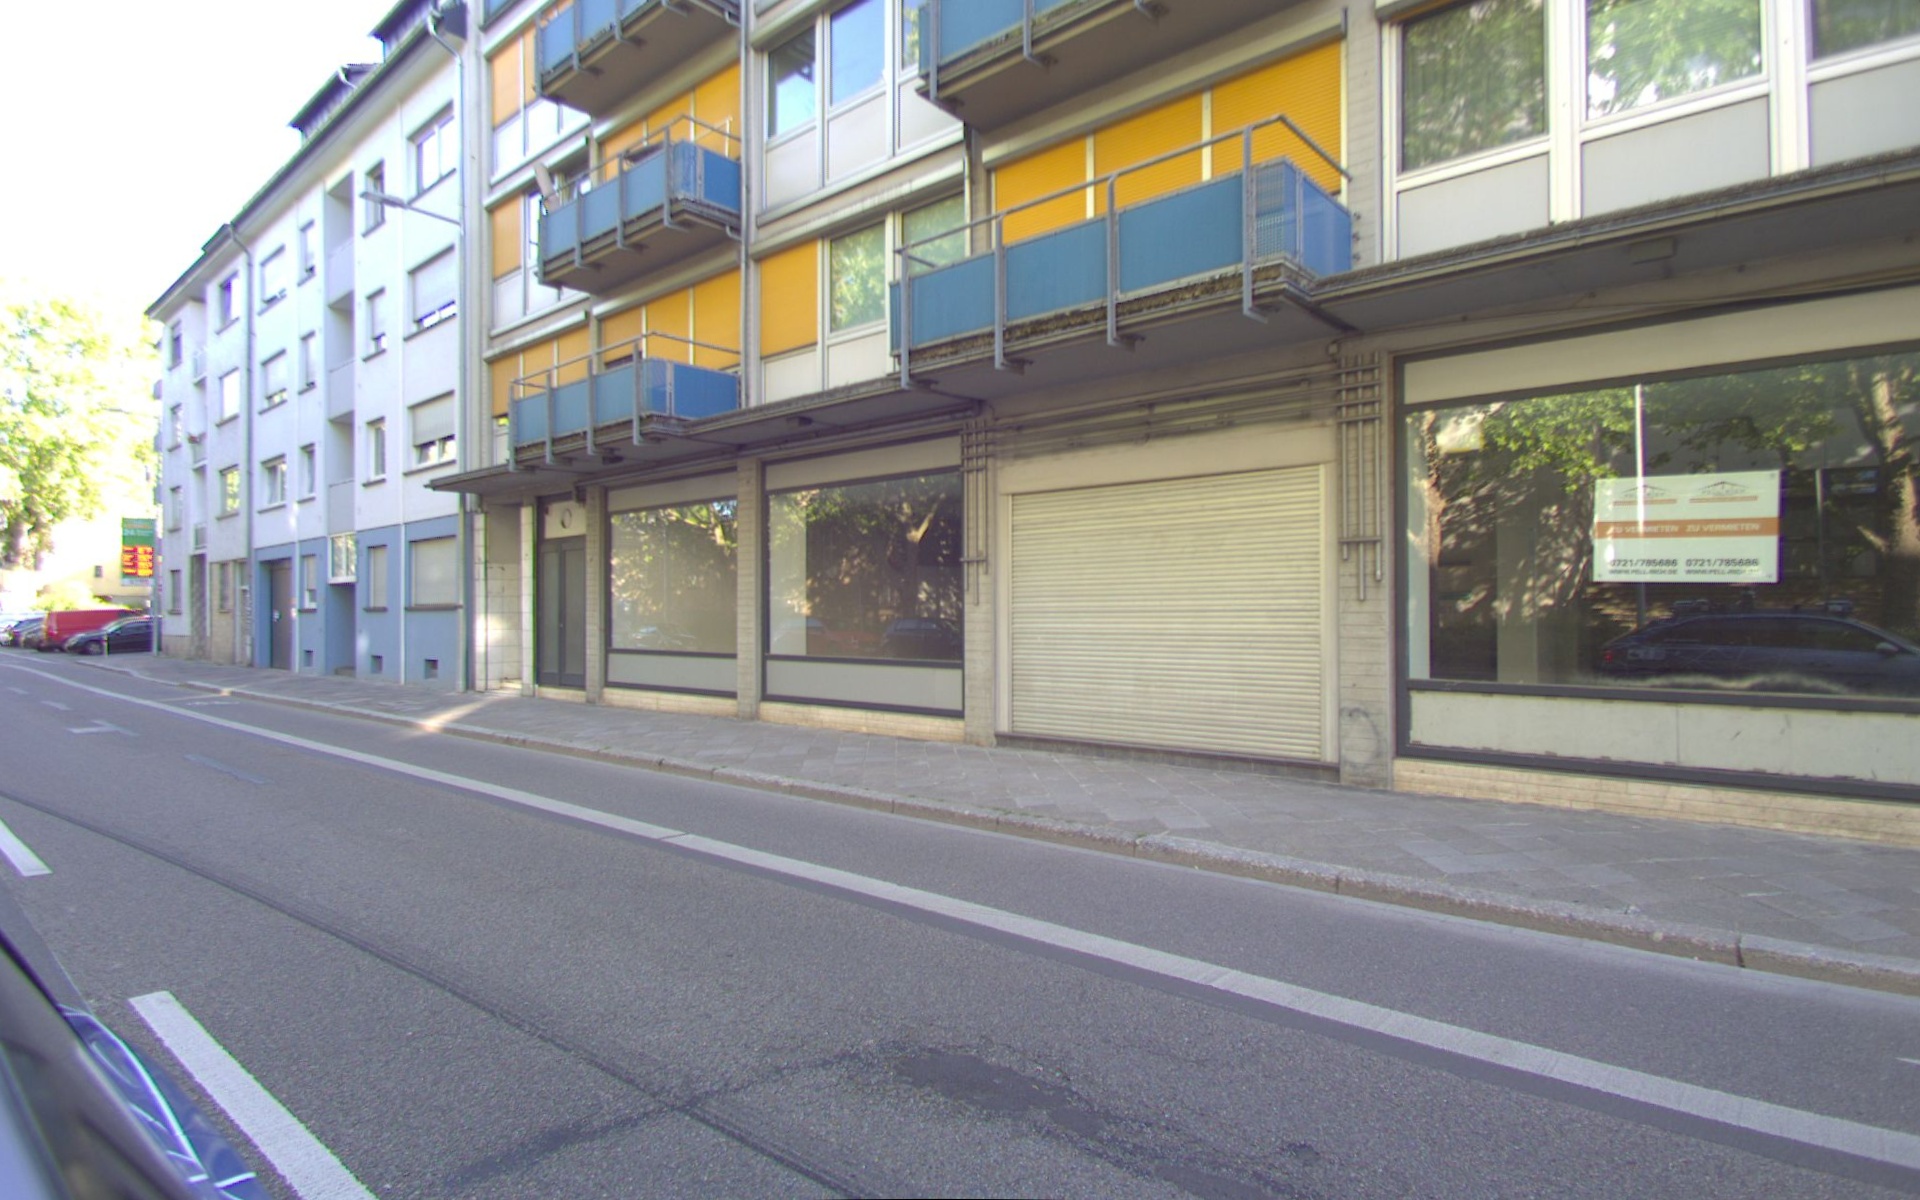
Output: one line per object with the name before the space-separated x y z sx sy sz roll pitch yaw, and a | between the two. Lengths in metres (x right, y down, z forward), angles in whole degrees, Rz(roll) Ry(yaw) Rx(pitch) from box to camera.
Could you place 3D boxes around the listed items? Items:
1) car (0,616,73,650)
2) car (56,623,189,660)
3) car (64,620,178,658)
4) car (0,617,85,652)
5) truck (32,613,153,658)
car | -59.338 2.085 64.398 2.000 2.052 4.180 -1 0 43
car | -36.490 1.788 44.156 1.657 1.417 4.269 -1 0 40
car | -38.040 1.724 45.939 1.657 1.583 3.762 -1 0 41
car | -56.055 2.057 61.469 2.000 1.971 4.180 -1 0 43
truck | -40.715 1.641 47.570 1.999 1.939 4.040 -1 0 40
